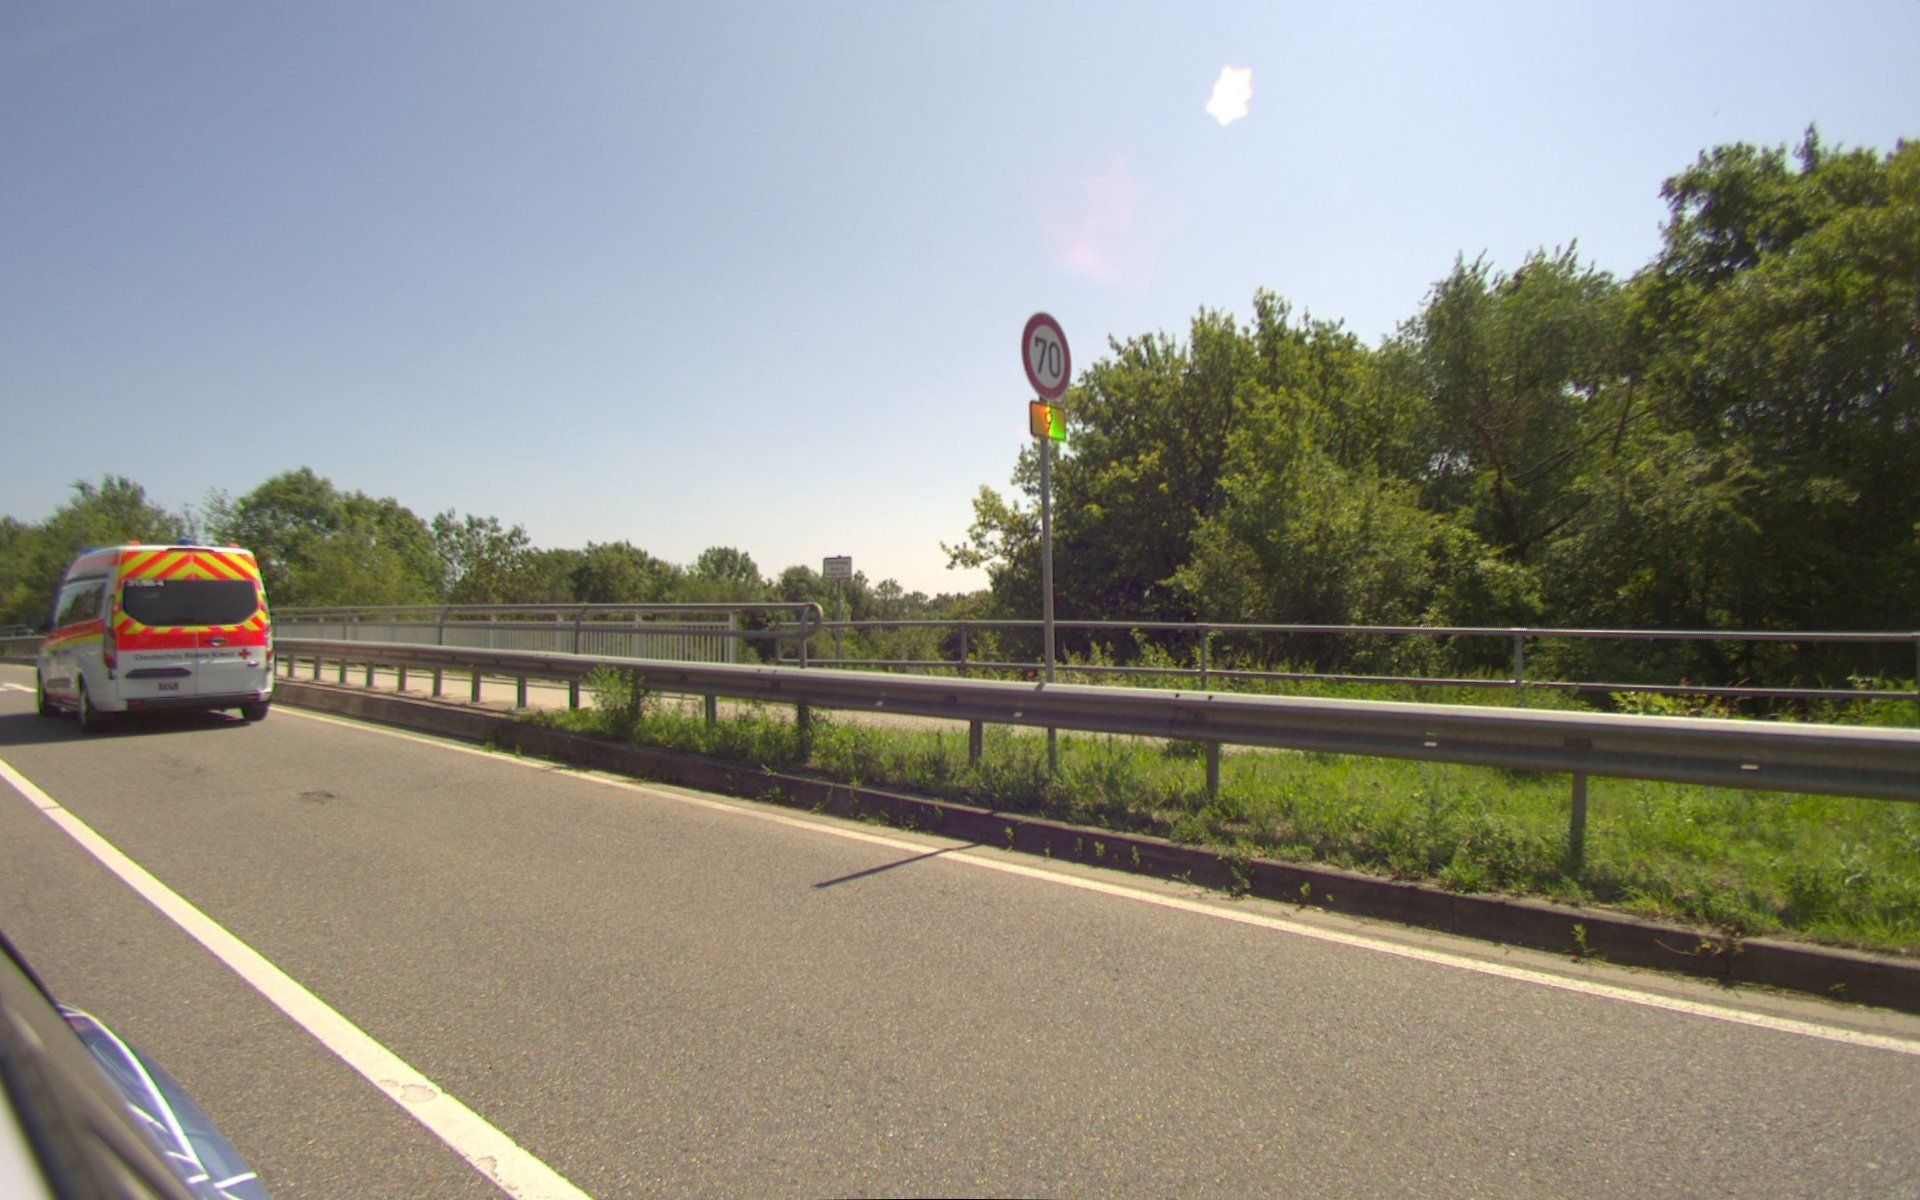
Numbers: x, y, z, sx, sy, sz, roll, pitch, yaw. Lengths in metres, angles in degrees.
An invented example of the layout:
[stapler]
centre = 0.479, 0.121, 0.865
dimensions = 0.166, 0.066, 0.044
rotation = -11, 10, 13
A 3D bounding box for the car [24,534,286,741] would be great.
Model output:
[car]
centre = -11.350, 0.464, 14.110
dimensions = 5.179, 2.386, 1.969
rotation = -1, 0, 41
